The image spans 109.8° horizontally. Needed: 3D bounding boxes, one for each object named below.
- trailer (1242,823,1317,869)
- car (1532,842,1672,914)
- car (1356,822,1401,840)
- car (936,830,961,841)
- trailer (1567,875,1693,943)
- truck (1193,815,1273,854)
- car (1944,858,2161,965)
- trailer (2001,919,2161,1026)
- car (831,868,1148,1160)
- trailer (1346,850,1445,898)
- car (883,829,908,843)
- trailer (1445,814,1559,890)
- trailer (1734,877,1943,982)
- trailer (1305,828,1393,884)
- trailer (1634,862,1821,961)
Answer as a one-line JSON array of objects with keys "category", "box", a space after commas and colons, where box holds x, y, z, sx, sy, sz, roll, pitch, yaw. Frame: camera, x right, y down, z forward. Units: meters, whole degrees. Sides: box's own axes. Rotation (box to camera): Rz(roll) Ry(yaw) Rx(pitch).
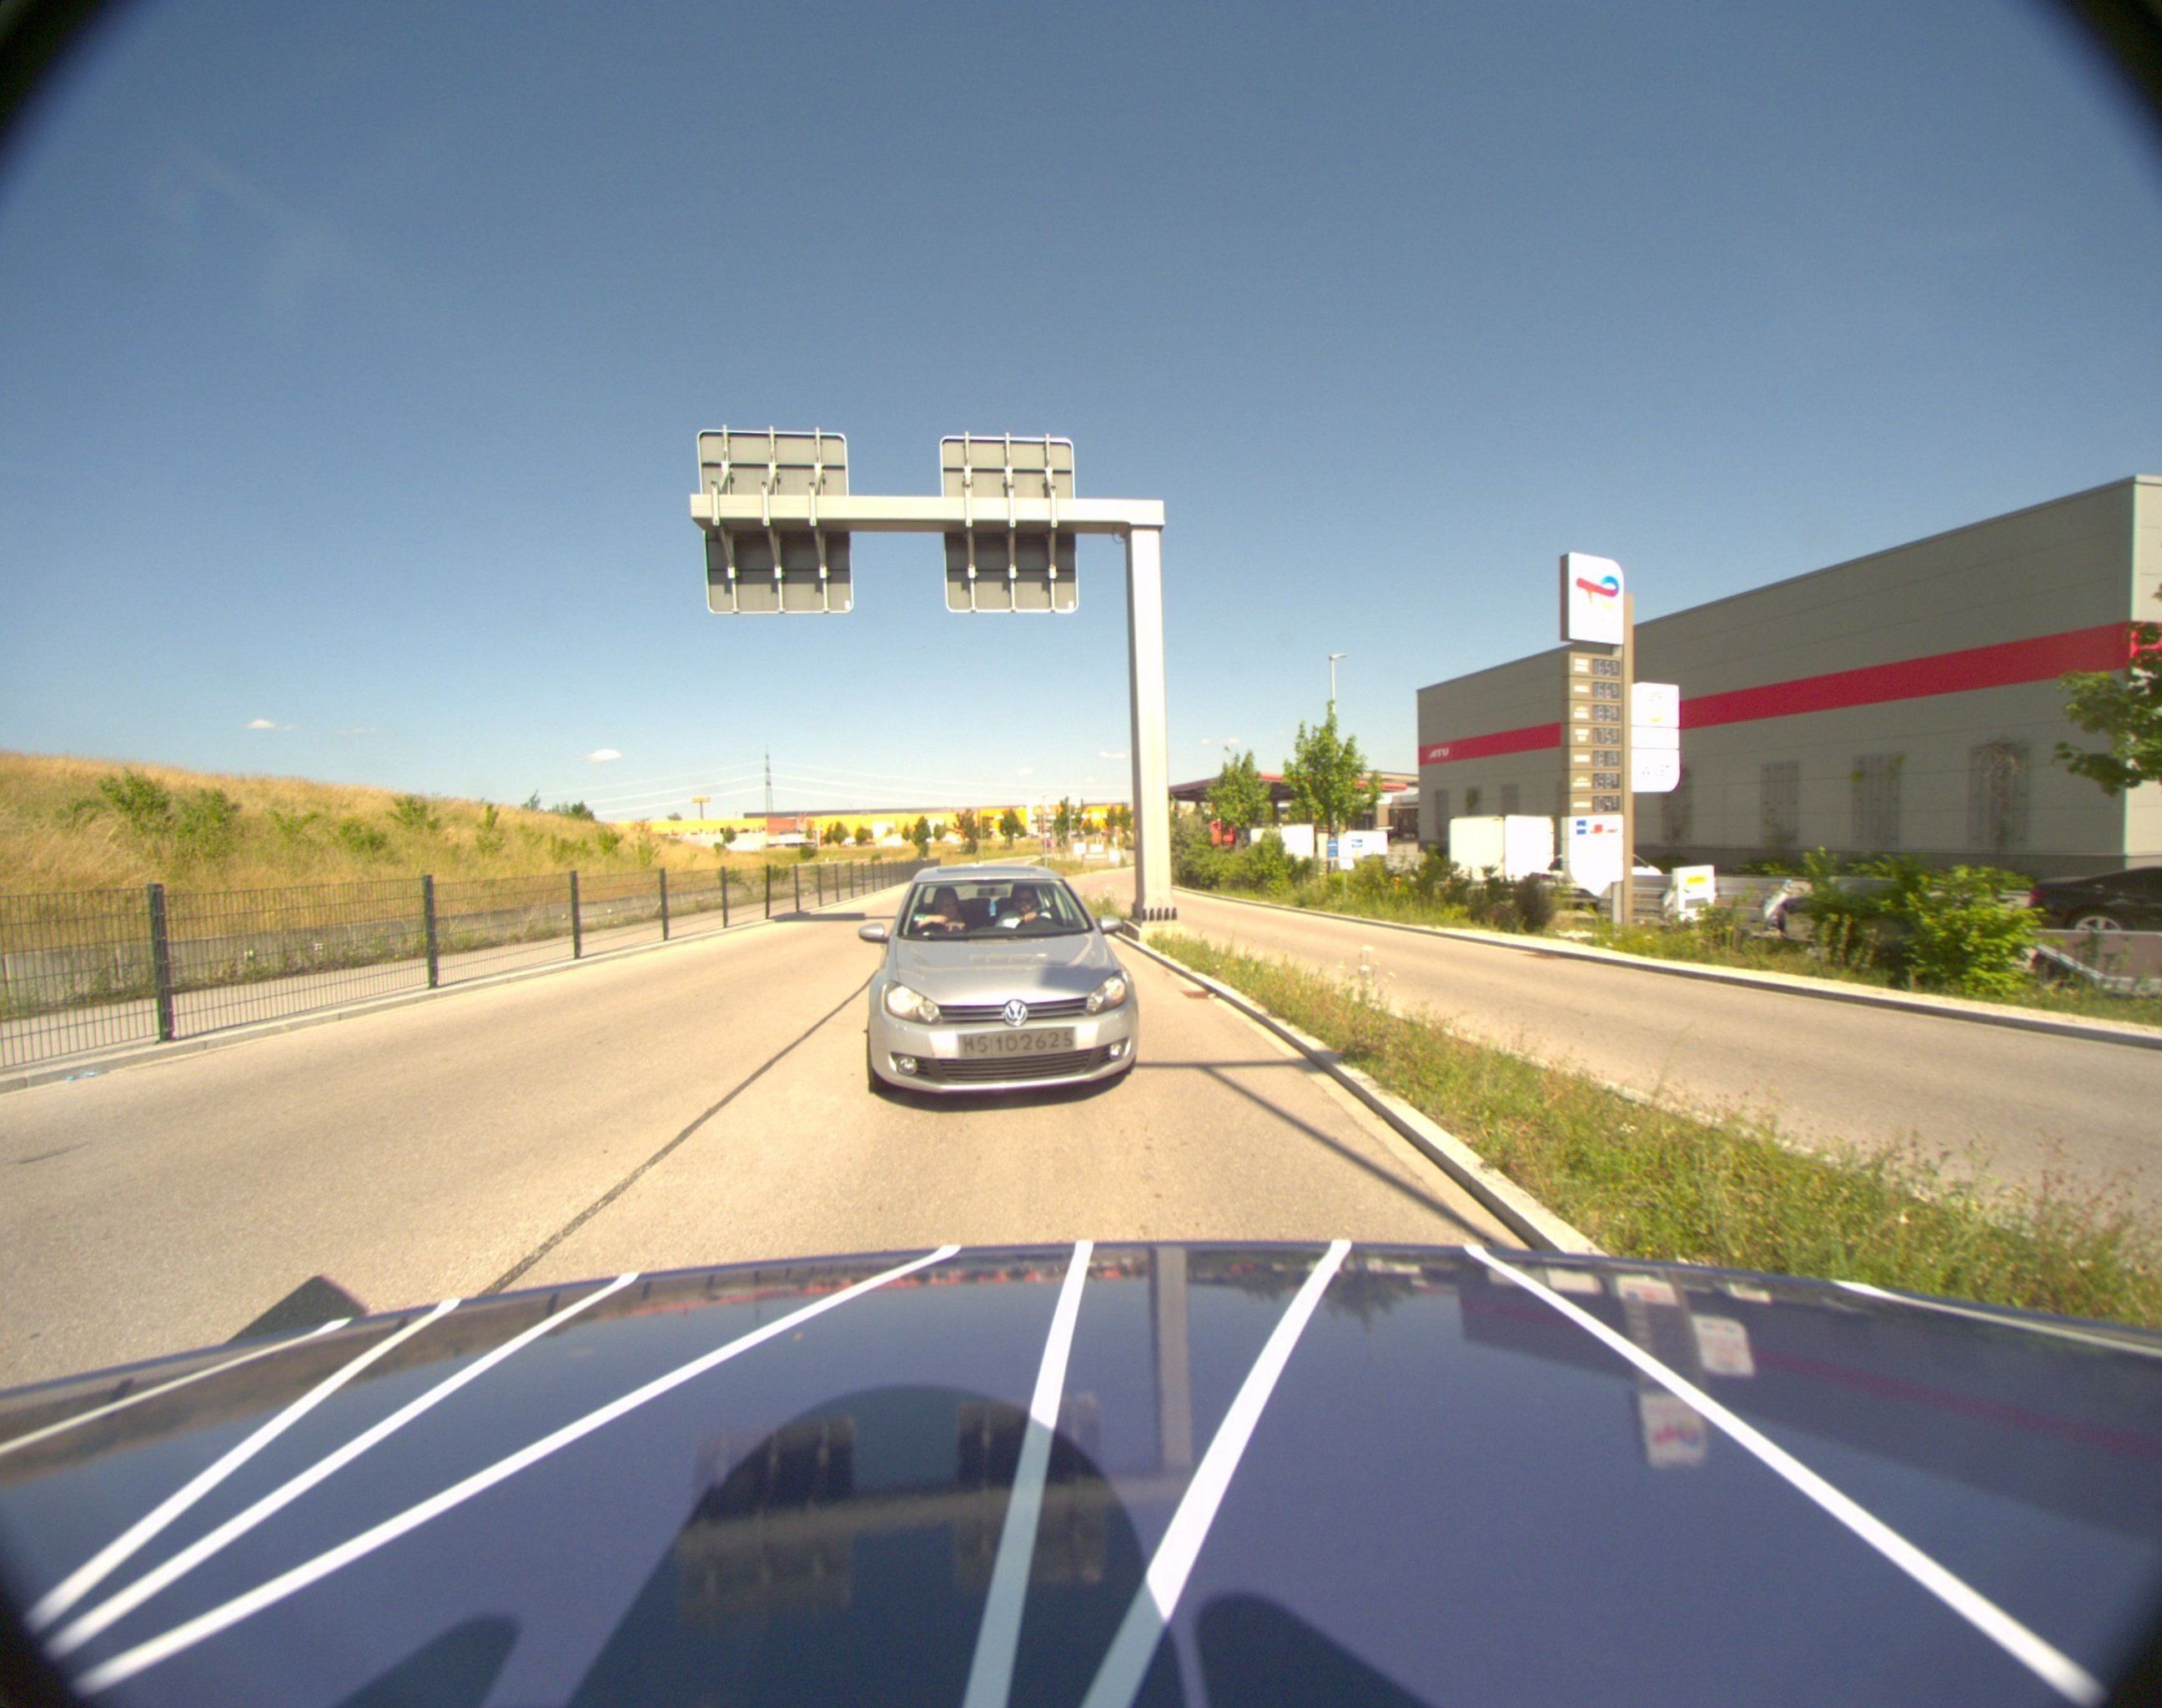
[{"category": "trailer", "box": [9.289, -0.385, 35.433, 1.994, 2.002, 3.212, -1, 2, 44]}, {"category": "car", "box": [13.553, 0.560, 19.700, 4.006, 1.527, 1.714, -4, 2, -36]}, {"category": "car", "box": [29.199, -2.247, 74.644, 3.683, 1.566, 1.695, -3, 2, -1]}, {"category": "car", "box": [-26.428, -3.713, 151.462, 4.637, 2.002, 1.998, -3, 2, -11]}, {"category": "trailer", "box": [11.343, 1.070, 15.661, 2.780, 1.080, 1.317, -4, 2, -37]}, {"category": "truck", "box": [14.346, -1.858, 71.679, 6.910, 3.299, 2.637, -3, 2, -17]}, {"category": "car", "box": [17.053, 0.883, 11.878, 1.803, 1.475, 4.494, -3, 1, -6]}, {"category": "trailer", "box": [13.415, 1.479, 9.862, 2.842, 0.877, 1.861, -4, 2, -39]}, {"category": "car", "box": [-0.749, 0.910, 6.193, 1.747, 1.459, 3.957, 0, 1, -8]}, {"category": "trailer", "box": [11.528, 0.696, 27.784, 3.605, 1.502, 1.596, -3, 1, -34]}, {"category": "car", "box": [-36.563, -3.606, 149.900, 4.637, 2.534, 1.998, -3, 2, -11]}, {"category": "trailer", "box": [12.310, -0.104, 22.182, 3.245, 2.002, 1.743, -4, 2, -38]}, {"category": "trailer", "box": [12.309, 1.148, 12.354, 2.915, 1.314, 1.387, -3, 2, -22]}, {"category": "trailer", "box": [10.669, 0.055, 30.241, 2.741, 2.002, 1.995, -4, 2, -34]}, {"category": "trailer", "box": [11.992, 0.975, 14.088, 3.195, 1.475, 1.545, -3, 2, -28]}]
